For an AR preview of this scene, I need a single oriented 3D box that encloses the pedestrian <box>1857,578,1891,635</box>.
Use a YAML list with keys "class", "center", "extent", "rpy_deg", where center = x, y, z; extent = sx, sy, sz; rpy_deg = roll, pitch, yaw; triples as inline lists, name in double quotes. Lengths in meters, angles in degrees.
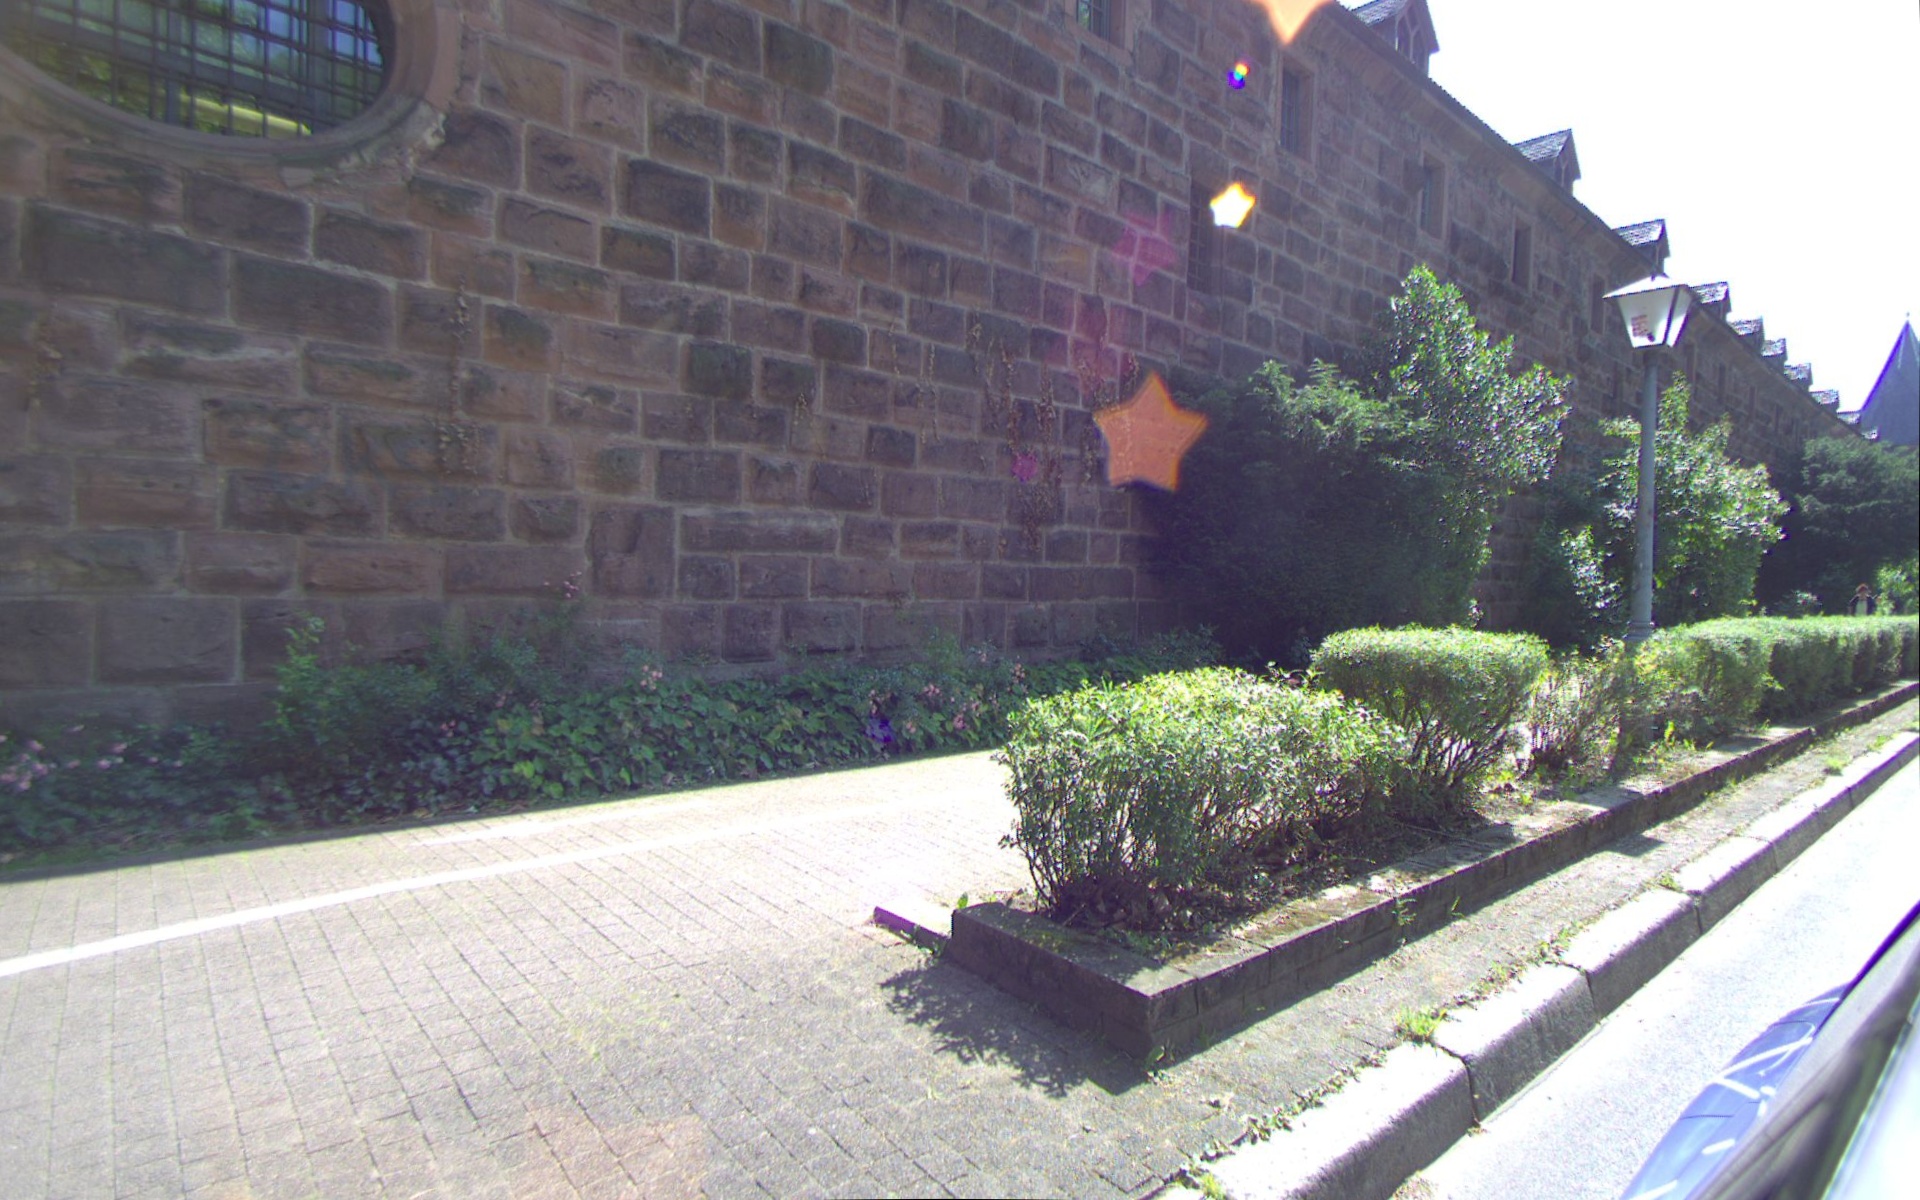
- class: "pedestrian"
  center: [25.787, 0.176, 28.565]
  extent: [0.554, 1.583, 0.642]
  rpy_deg: [0, 0, -41]
